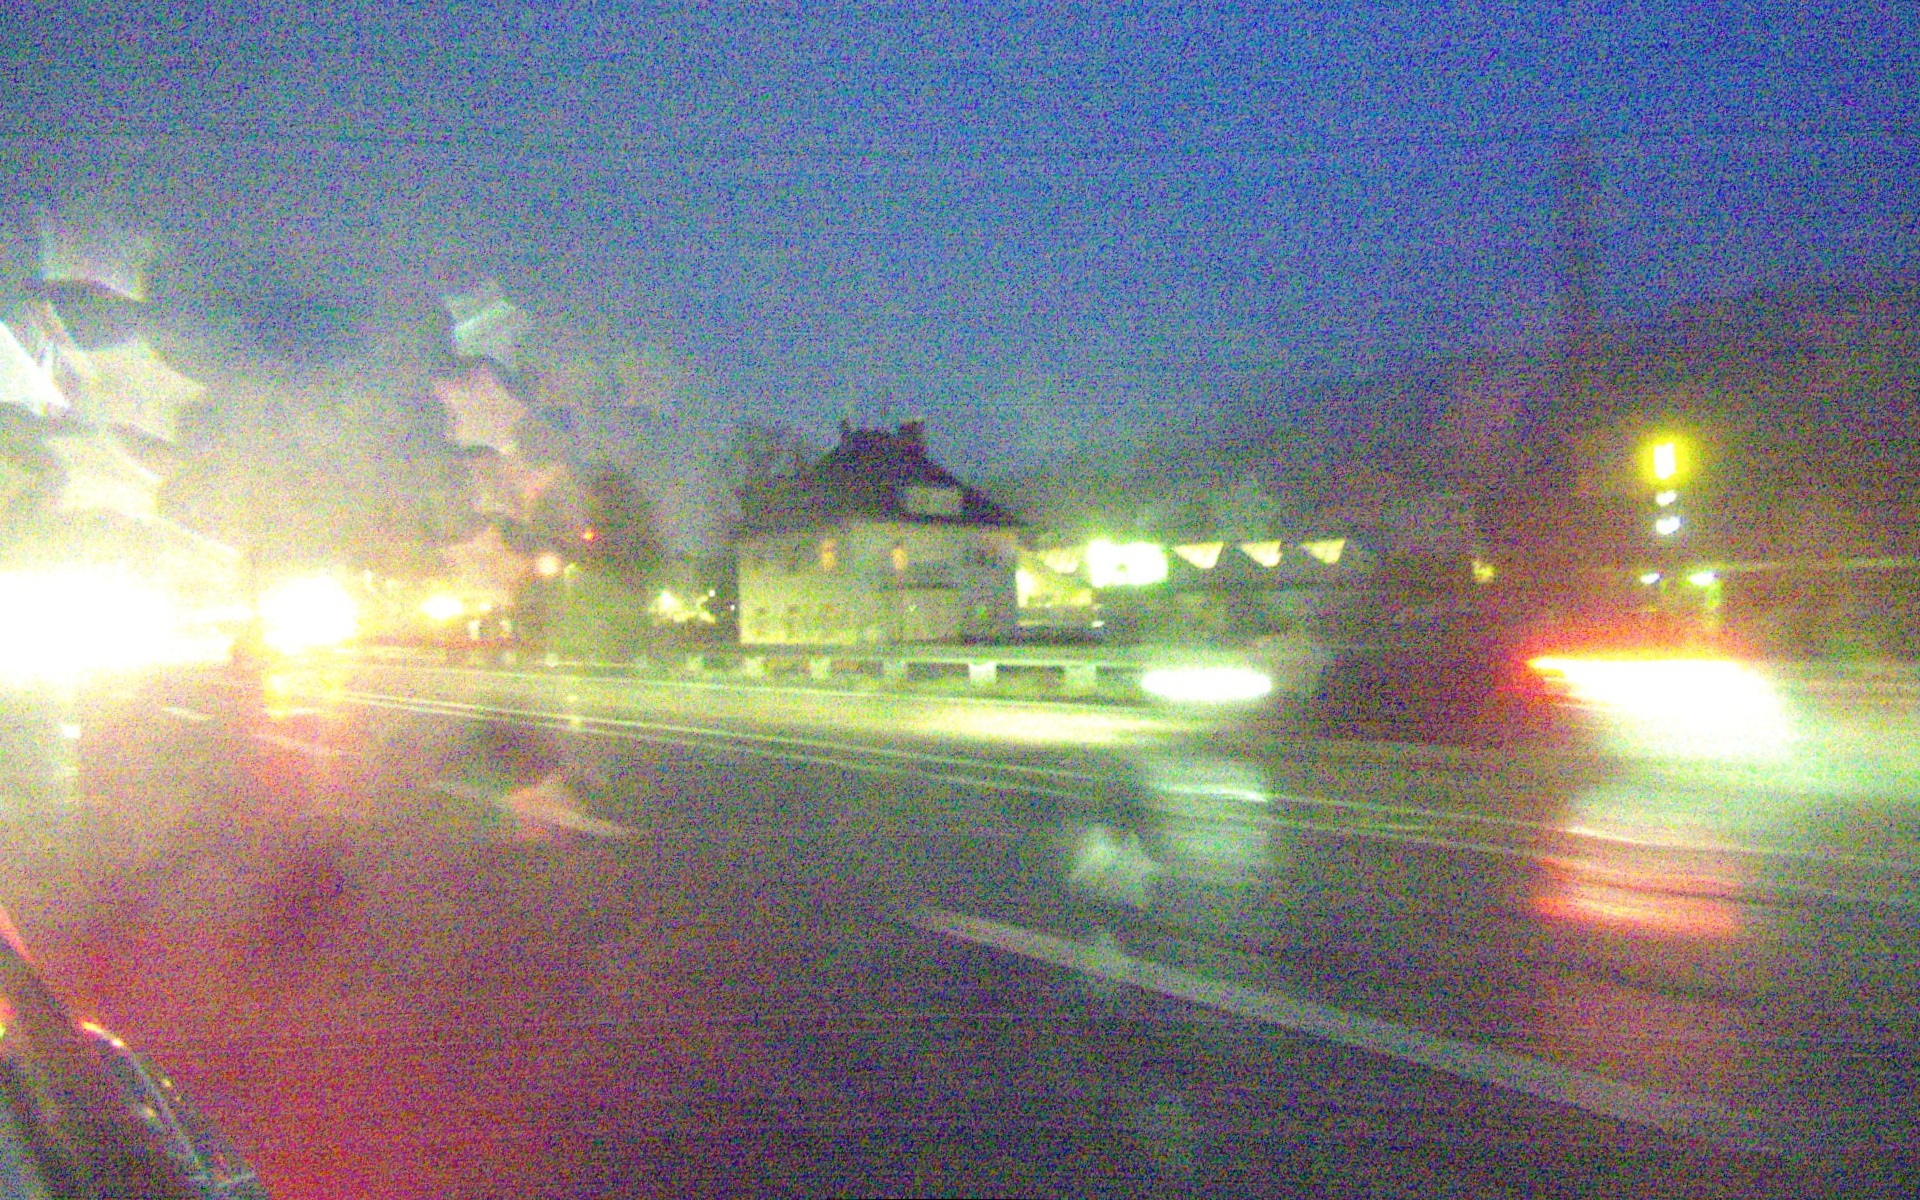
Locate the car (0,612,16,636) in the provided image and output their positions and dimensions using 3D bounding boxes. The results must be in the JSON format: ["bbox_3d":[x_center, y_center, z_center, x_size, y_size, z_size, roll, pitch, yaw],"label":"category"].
[{"bbox_3d":[-82.467,2.060,86.846,1.970,2.029,4.005,-1,0,-42],"label":"car"}]

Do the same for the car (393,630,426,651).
[{"bbox_3d":[-56.383,4.143,103.651,1.970,2.029,4.003,-2,0,-44],"label":"car"}]

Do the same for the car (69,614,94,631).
[{"bbox_3d":[-110.924,2.827,127.836,1.967,2.029,4.009,-1,0,-36],"label":"car"}]

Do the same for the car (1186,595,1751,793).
[{"bbox_3d":[4.624,0.728,9.636,4.482,1.453,1.816,-1,0,37],"label":"car"}]

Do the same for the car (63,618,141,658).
[{"bbox_3d":[-37.583,1.618,44.295,3.895,1.612,1.863,-1,0,38],"label":"car"}]

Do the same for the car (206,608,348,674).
[{"bbox_3d":[-20.152,1.153,29.817,4.519,1.758,2.177,-1,0,38],"label":"car"}]

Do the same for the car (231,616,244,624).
[{"bbox_3d":[-155.193,4.252,217.375,1.664,1.693,3.479,-1,0,-24],"label":"car"}]

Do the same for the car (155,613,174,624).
[{"bbox_3d":[-128.349,3.012,163.296,1.966,1.625,4.624,-1,0,-33],"label":"car"}]

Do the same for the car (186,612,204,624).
[{"bbox_3d":[-141.144,3.246,186.778,1.965,2.090,4.013,-1,0,-27],"label":"car"}]
